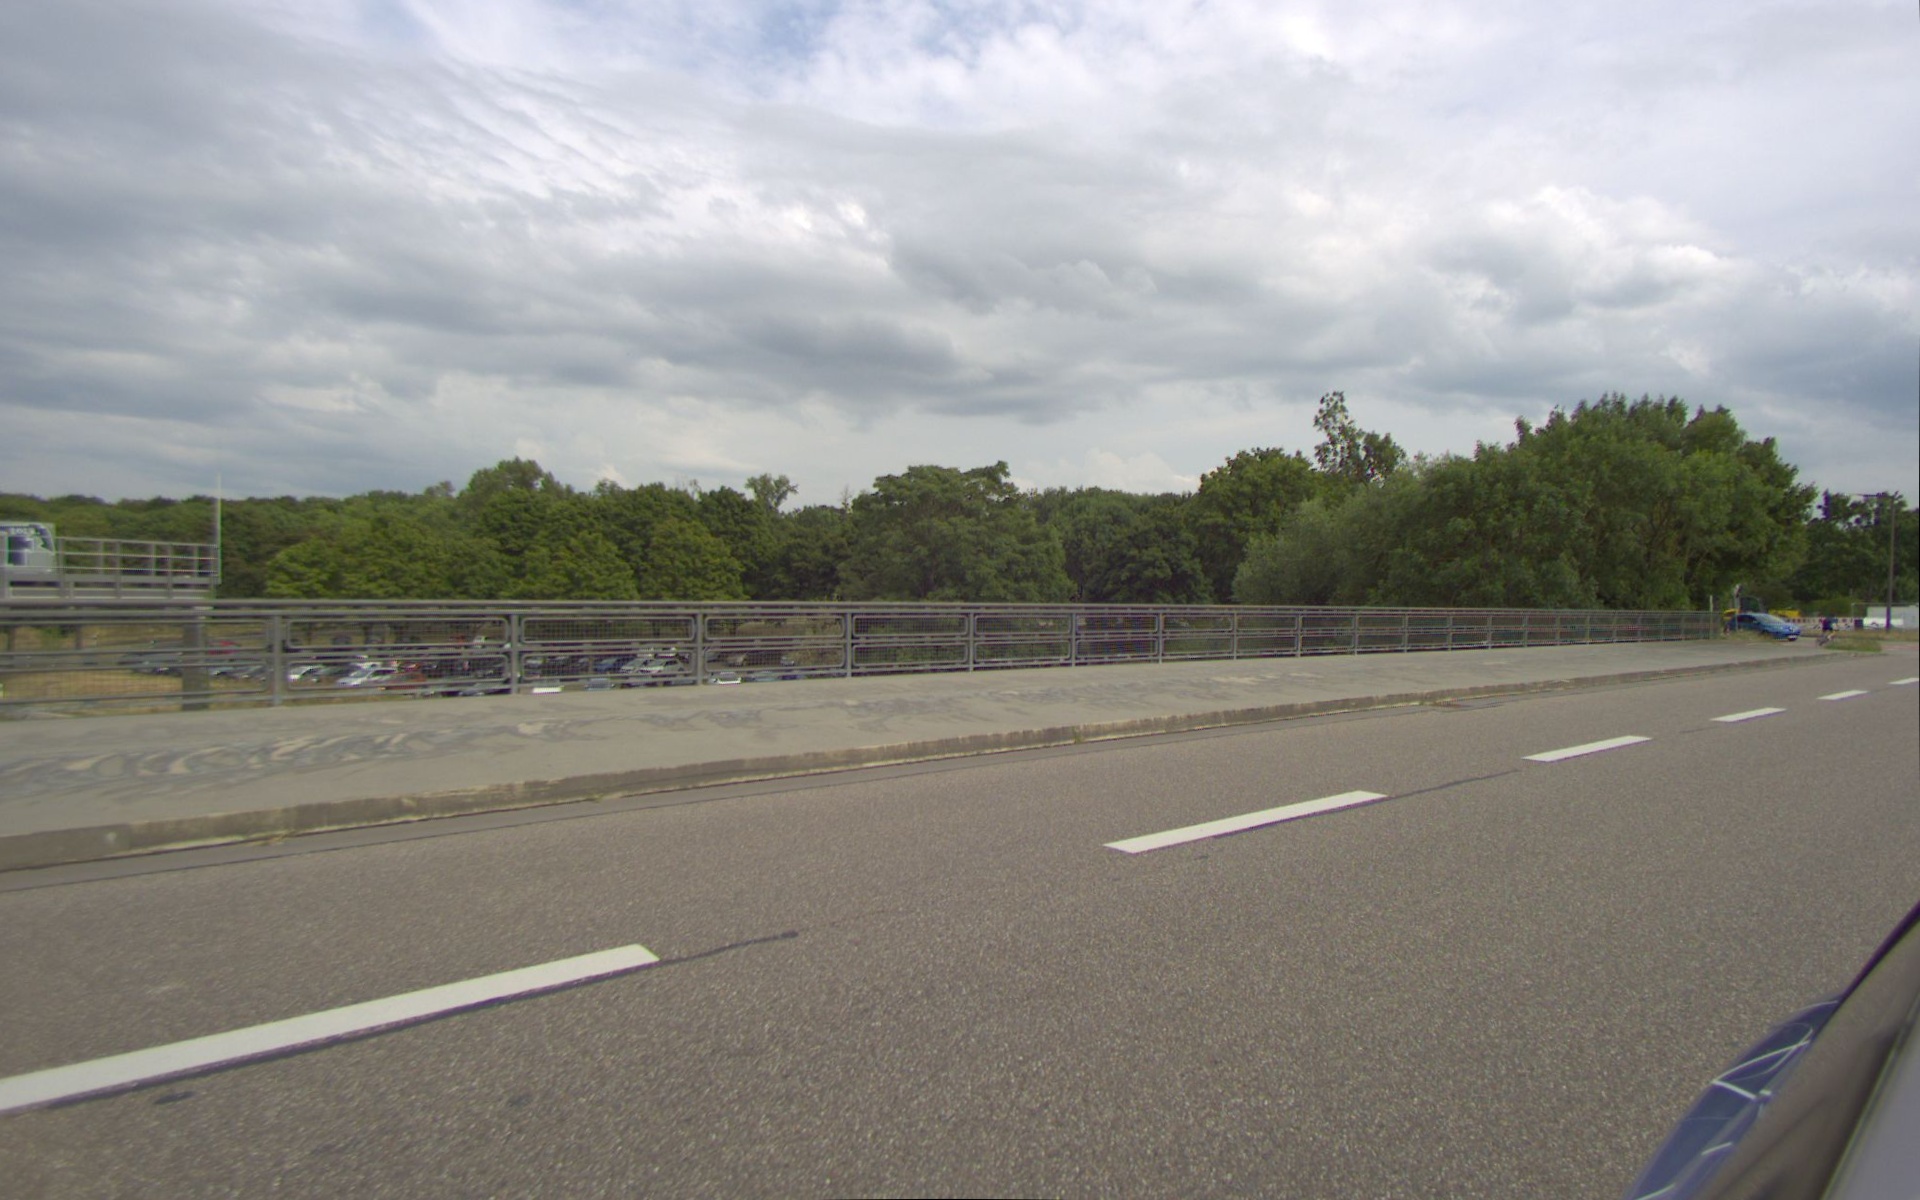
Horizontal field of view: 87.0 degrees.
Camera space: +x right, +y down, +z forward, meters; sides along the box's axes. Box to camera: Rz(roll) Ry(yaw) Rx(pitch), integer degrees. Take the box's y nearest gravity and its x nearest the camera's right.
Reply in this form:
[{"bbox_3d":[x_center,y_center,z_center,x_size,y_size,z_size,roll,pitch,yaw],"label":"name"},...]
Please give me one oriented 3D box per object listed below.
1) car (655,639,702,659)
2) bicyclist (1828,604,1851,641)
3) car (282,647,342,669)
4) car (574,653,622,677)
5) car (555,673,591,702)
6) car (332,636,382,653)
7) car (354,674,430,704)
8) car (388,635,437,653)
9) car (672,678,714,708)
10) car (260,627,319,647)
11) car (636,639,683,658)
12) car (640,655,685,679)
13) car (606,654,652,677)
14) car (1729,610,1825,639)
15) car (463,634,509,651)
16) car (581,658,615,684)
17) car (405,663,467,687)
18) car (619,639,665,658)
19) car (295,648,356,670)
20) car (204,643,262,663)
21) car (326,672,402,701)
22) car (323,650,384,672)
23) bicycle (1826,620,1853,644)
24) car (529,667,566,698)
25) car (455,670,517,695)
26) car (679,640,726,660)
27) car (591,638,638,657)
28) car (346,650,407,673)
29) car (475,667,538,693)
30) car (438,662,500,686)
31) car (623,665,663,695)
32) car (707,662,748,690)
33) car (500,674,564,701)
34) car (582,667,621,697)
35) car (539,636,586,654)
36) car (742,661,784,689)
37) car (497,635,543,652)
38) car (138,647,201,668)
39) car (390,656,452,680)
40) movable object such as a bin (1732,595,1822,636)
[{"bbox_3d":[-26.094,4.542,93.797,1.983,1.594,3.958,0,0,29],"label":"car"},{"bbox_3d":[41.536,1.060,47.796,0.791,1.681,0.666,2,-2,-39],"label":"bicyclist"},{"bbox_3d":[-56.334,5.028,88.045,1.983,1.594,3.957,0,0,30],"label":"car"},{"bbox_3d":[-28.690,5.147,80.382,1.966,1.594,3.991,0,0,8],"label":"car"},{"bbox_3d":[-26.314,5.892,68.698,1.959,1.594,4.006,0,0,-25],"label":"car"},{"bbox_3d":[-61.167,4.493,102.670,1.983,1.594,3.957,0,0,30],"label":"car"},{"bbox_3d":[-37.735,5.910,67.329,1.983,1.594,3.957,0,0,30],"label":"car"},{"bbox_3d":[-56.482,4.511,104.437,1.983,1.594,3.957,0,0,30],"label":"car"},{"bbox_3d":[-17.736,6.134,67.127,1.959,1.594,4.006,0,0,-25],"label":"car"},{"bbox_3d":[-59.191,3.286,89.379,1.983,1.594,3.957,0,0,30],"label":"car"},{"bbox_3d":[-28.034,4.528,94.622,1.983,1.594,3.958,0,0,29],"label":"car"},{"bbox_3d":[-23.578,5.270,80.253,1.966,1.594,3.991,0,0,8],"label":"car"},{"bbox_3d":[-26.213,5.160,80.342,1.966,1.594,3.991,0,0,8],"label":"car"},{"bbox_3d":[46.496,1.351,57.723,1.840,1.537,4.007,0,0,-11],"label":"car"},{"bbox_3d":[-49.417,4.388,105.507,1.983,1.594,3.958,0,0,29],"label":"car"},{"bbox_3d":[-26.509,5.185,73.986,1.959,1.594,4.006,0,0,-25],"label":"car"},{"bbox_3d":[-41.536,5.908,80.337,1.983,1.594,3.957,0,0,30],"label":"car"},{"bbox_3d":[-29.968,4.518,95.447,1.983,1.594,3.958,0,0,29],"label":"car"},{"bbox_3d":[-54.329,5.040,86.722,1.983,1.594,3.957,0,0,30],"label":"car"},{"bbox_3d":[-67.302,4.897,93.724,1.983,1.594,3.957,0,0,30],"label":"car"},{"bbox_3d":[-40.129,5.783,68.224,1.983,1.594,3.957,0,0,30],"label":"car"},{"bbox_3d":[-50.864,5.063,84.916,1.983,1.594,3.957,0,0,30],"label":"car"},{"bbox_3d":[41.544,1.510,47.799,1.939,1.034,0.578,3,2,-39],"label":"bicycle"},{"bbox_3d":[-26.080,5.190,63.876,1.959,1.594,4.006,0,0,-25],"label":"car"},{"bbox_3d":[-36.239,6.280,77.450,1.983,1.594,3.957,0,0,30],"label":"car"},{"bbox_3d":[-23.702,4.560,93.301,1.983,1.594,3.958,0,0,29],"label":"car"},{"bbox_3d":[-33.081,4.496,96.873,1.983,1.594,3.958,0,0,29],"label":"car"},{"bbox_3d":[-48.422,5.080,84.026,1.983,1.594,3.957,0,0,30],"label":"car"},{"bbox_3d":[-34.138,6.005,76.281,1.983,1.594,3.957,0,0,30],"label":"car"},{"bbox_3d":[-38.501,5.793,79.449,1.983,1.594,3.957,0,0,30],"label":"car"},{"bbox_3d":[-20.571,5.146,65.602,1.959,1.594,4.006,0,0,-25],"label":"car"},{"bbox_3d":[-15.946,5.159,69.229,1.959,1.594,4.006,0,0,-25],"label":"car"},{"bbox_3d":[-31.241,6.400,74.012,1.983,1.594,3.957,0,0,30],"label":"car"},{"bbox_3d":[-22.954,5.204,64.801,1.959,1.594,4.006,0,0,-25],"label":"car"},{"bbox_3d":[-39.249,4.460,100.050,1.983,1.594,3.958,0,0,29],"label":"car"},{"bbox_3d":[-13.682,5.173,70.249,1.959,1.594,4.006,0,0,-25],"label":"car"},{"bbox_3d":[-44.782,4.419,103.096,1.983,1.594,3.958,0,0,29],"label":"car"},{"bbox_3d":[-69.452,4.992,88.978,1.983,1.594,3.957,0,0,30],"label":"car"},{"bbox_3d":[-43.434,5.469,81.644,1.983,1.594,3.957,0,0,30],"label":"car"},{"bbox_3d":[57.030,1.054,70.717,2.061,2.723,4.517,0,0,-34],"label":"movable object such as a bin"}]
